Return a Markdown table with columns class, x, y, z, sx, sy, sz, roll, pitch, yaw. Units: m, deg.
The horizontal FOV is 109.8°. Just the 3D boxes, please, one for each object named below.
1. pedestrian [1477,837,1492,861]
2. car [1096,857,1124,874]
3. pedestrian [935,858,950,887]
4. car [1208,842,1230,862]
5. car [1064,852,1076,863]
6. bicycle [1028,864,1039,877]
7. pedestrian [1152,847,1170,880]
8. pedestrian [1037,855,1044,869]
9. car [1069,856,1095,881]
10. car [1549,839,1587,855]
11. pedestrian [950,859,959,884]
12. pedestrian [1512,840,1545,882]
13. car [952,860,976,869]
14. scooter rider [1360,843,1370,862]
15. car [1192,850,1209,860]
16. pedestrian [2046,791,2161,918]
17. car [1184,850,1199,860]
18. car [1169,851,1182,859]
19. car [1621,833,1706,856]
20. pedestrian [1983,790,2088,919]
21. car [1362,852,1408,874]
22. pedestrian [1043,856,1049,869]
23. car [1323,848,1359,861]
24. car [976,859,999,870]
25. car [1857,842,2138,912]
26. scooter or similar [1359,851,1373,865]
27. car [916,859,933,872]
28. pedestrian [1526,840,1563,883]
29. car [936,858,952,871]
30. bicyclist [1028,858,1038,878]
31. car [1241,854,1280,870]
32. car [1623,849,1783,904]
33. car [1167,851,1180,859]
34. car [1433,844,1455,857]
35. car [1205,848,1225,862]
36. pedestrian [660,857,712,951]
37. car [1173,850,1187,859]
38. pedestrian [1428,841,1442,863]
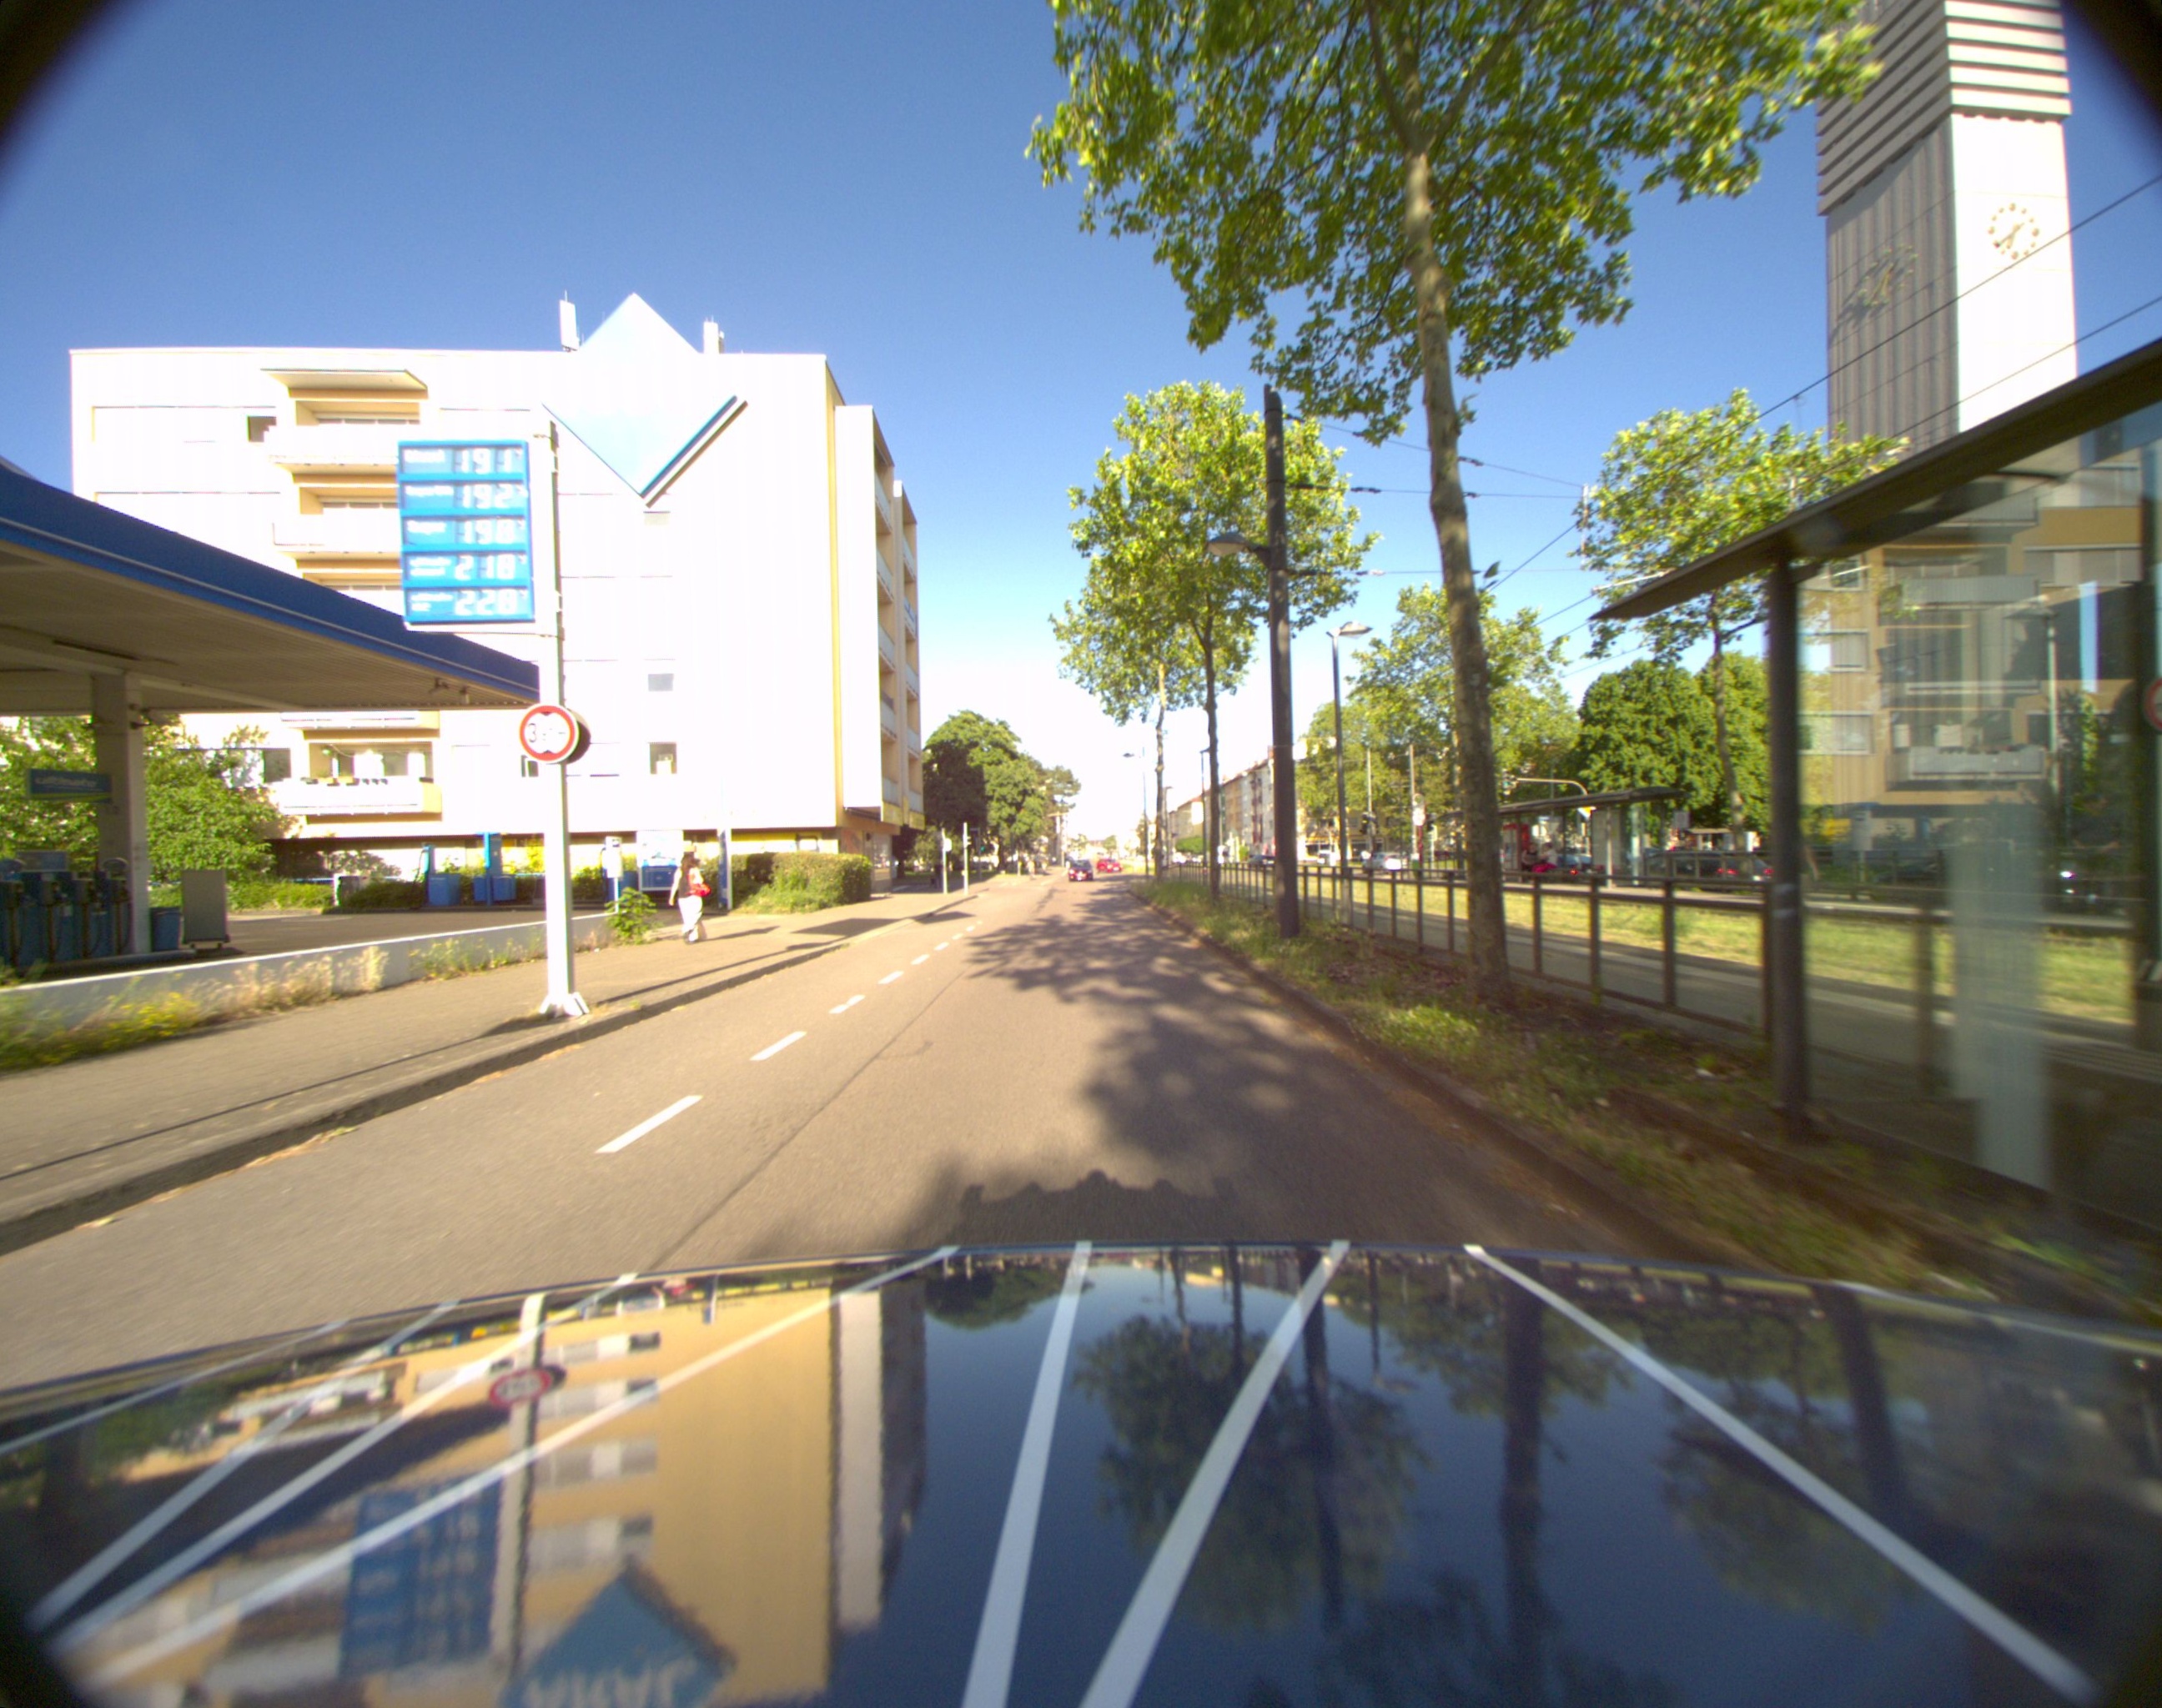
| class | x | y | z | sx | sy | sz | roll | pitch | yaw |
| --- | --- | --- | --- | --- | --- | --- | --- | --- | --- |
| pedestrian | 28.719 | -0.332 | 54.119 | 0.596 | 1.672 | 0.747 | -2 | 1 | -6 |
| car | 2.864 | 1.116 | 75.761 | 1.545 | 1.522 | 3.597 | -4 | 1 | -20 |
| pedestrian | -8.861 | 1.156 | 48.629 | 0.790 | 1.817 | 1.032 | -1 | 1 | -17 |
| car | 20.464 | -0.262 | 112.554 | 2.231 | 2.808 | 5.228 | -2 | 0 | 0 |
| car | -1.901 | 0.519 | 132.330 | 1.999 | 1.806 | 3.999 | -3 | 0 | 0 |
| bicycle | -3.691 | 1.295 | 58.912 | 0.684 | 0.925 | 1.736 | -2 | 0 | -1 |
| pedestrian | 3.763 | 0.448 | 35.709 | 0.660 | 1.520 | 0.538 | -2 | 1 | -7 |
| pedestrian | -4.816 | 0.916 | 90.344 | 0.567 | 1.688 | 0.595 | -2 | 1 | -18 |
| car | 0.101 | 0.947 | 51.706 | 1.619 | 1.537 | 4.277 | -2 | 0 | 1 |
| car | 50.703 | -0.692 | 79.158 | 1.997 | 1.543 | 3.938 | -2 | 0 | 12 |
| pedestrian | -8.160 | 1.119 | 48.914 | 0.505 | 1.537 | 0.518 | -1 | 2 | -17 |
| pedestrian | 14.654 | 0.230 | 24.894 | 0.733 | 1.334 | 0.774 | -2 | 1 | 14 |
| car | -16.285 | 1.493 | 106.261 | 1.997 | 1.060 | 4.280 | -2 | 0 | 10 |
| scooter rider | 26.663 | -0.140 | 71.307 | 0.596 | 1.686 | 0.573 | -2 | 1 | -6 |
| car | 20.624 | 0.198 | 131.291 | 2.144 | 1.697 | 5.157 | -2 | 0 | 0 |
| pedestrian | 14.389 | 0.003 | 10.586 | 0.885 | 1.680 | 0.754 | -2 | 1 | 1 |
| car | 20.518 | 0.157 | 141.333 | 2.144 | 1.697 | 5.445 | -2 | 0 | 0 |
| car | 21.096 | 0.109 | 169.682 | 2.144 | 1.697 | 5.402 | -2 | 0 | 0 |
| car | 41.400 | -0.643 | 54.079 | 4.525 | 1.478 | 2.000 | -2 | 0 | 0 |
| pedestrian | 14.240 | 0.007 | 11.351 | 0.722 | 1.856 | 0.637 | -2 | 1 | 1 |
| car | 19.810 | 0.549 | 49.587 | 1.329 | 1.317 | 3.415 | -2 | 0 | -6 |
| pedestrian | -4.096 | 0.991 | 89.512 | 0.596 | 1.518 | 0.633 | -2 | 1 | -10 |
| car | 31.179 | 0.086 | 91.148 | 3.990 | 1.429 | 1.720 | -1 | 1 | 23 |
| car | -13.035 | 1.437 | 105.890 | 1.997 | 1.316 | 4.280 | -2 | 0 | 10 |
| car | 20.319 | 0.456 | 17.159 | 1.555 | 1.346 | 4.000 | -2 | 0 | 1 |
| scooter or similar | 26.678 | 0.344 | 71.237 | 0.598 | 1.302 | 1.540 | -2 | 0 | -5 |
| car | -22.545 | 1.647 | 109.235 | 2.001 | 1.689 | 4.271 | -2 | 0 | -16 |
| pedestrian | 14.673 | 0.233 | 24.065 | 0.696 | 1.334 | 0.734 | -2 | 1 | 2 |
| car | -19.493 | 1.503 | 107.791 | 2.001 | 1.689 | 4.272 | -2 | 0 | -13 |
| bicyclist | -3.689 | 1.065 | 58.848 | 0.678 | 1.466 | 0.936 | -2 | 1 | -1 |
| car | 17.192 | 0.790 | 73.185 | 1.956 | 1.433 | 4.524 | -2 | 0 | -11 |
| car | 17.633 | 0.591 | 21.770 | 1.609 | 1.419 | 3.536 | -2 | 0 | -2 |
| car | 21.499 | 0.236 | 176.810 | 2.144 | 1.697 | 5.402 | -2 | 0 | 0 |
| car | 39.894 | -0.424 | 83.555 | 1.641 | 1.300 | 4.004 | -1 | 1 | 18 |
| car | 21.132 | 0.136 | 119.772 | 2.144 | 2.022 | 5.157 | -2 | 0 | 0 |
| pedestrian | -7.336 | 0.911 | 14.130 | 0.605 | 1.692 | 0.552 | -2 | 1 | 4 |
| car | 20.417 | 0.093 | 156.743 | 2.144 | 1.697 | 5.445 | -2 | 0 | 0 |
| pedestrian | 27.924 | -0.147 | 59.871 | 0.596 | 1.686 | 0.880 | -2 | 1 | -6 |
